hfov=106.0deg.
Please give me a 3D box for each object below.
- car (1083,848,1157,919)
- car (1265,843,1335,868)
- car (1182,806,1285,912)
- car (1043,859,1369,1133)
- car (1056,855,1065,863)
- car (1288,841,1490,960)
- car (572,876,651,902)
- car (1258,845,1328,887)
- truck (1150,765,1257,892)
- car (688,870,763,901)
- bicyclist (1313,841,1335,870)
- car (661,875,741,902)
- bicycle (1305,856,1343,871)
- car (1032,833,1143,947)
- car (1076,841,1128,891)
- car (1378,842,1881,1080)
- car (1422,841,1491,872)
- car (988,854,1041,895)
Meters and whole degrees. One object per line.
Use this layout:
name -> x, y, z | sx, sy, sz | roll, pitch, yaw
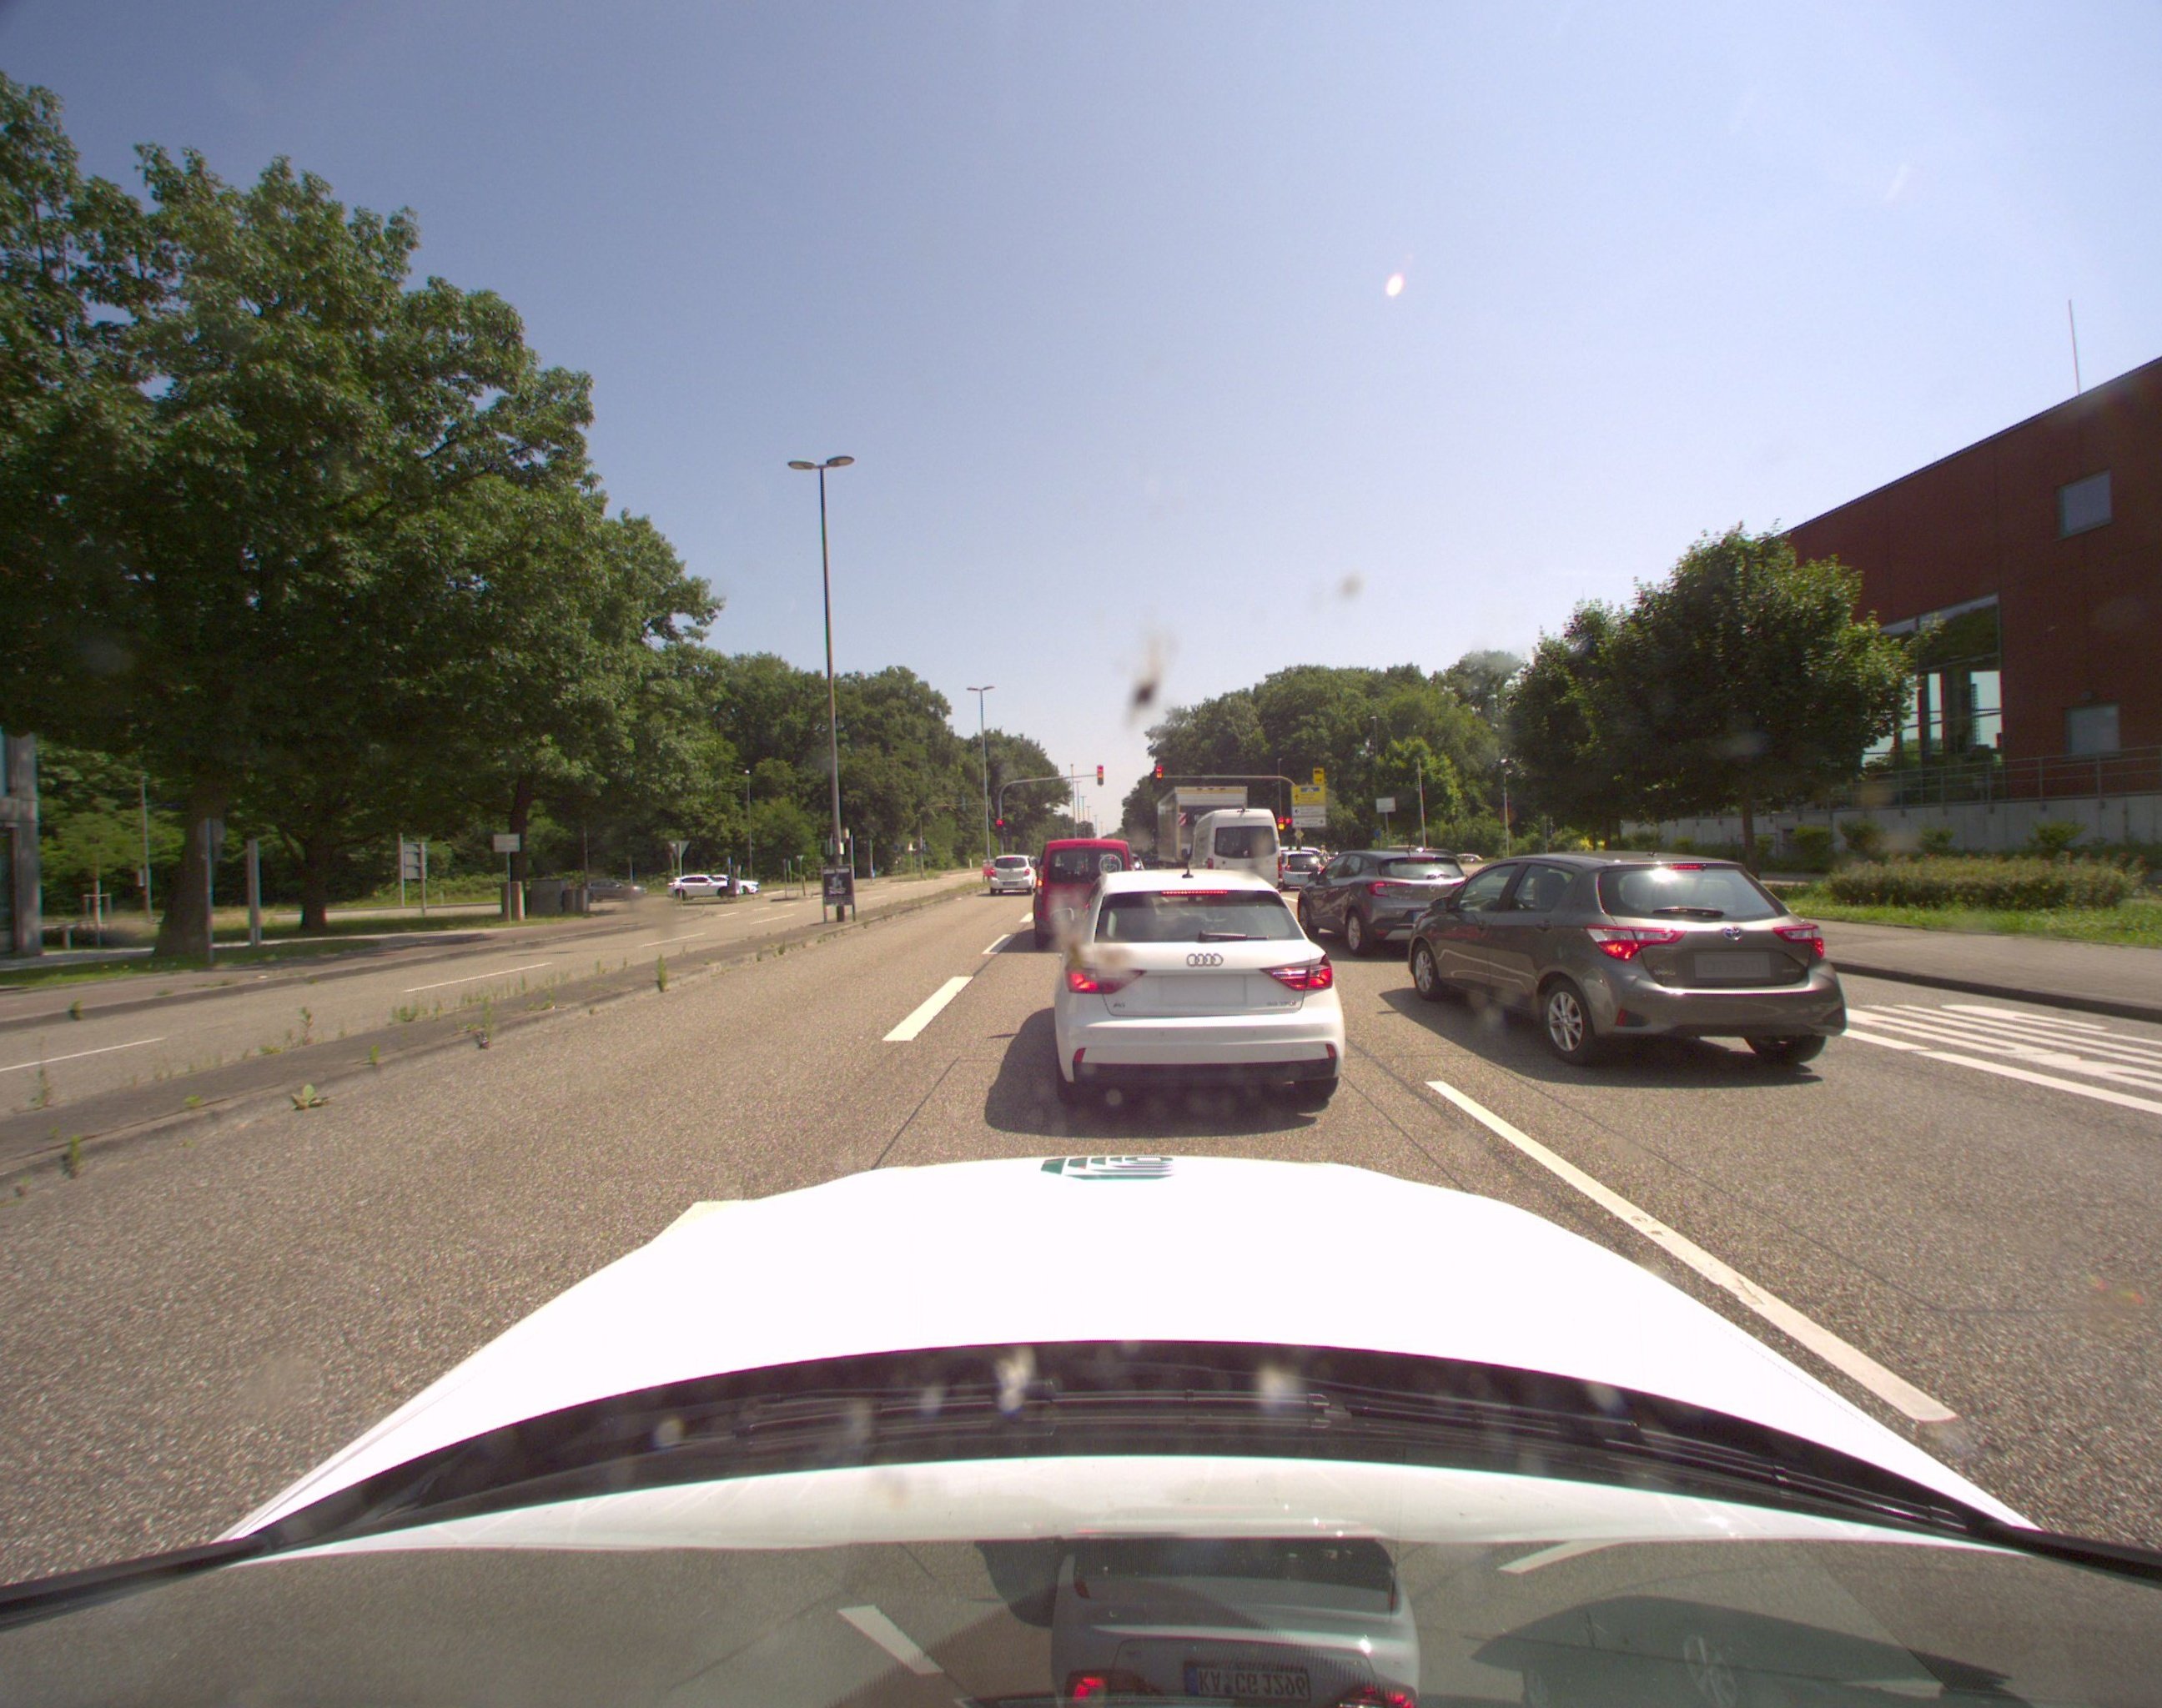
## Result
car -> 0.929, 0.703, 21.221 | 1.706, 1.631, 4.091 | -1, 0, 0
car -> 15.360, 0.100, 57.371 | 4.454, 1.530, 1.799 | -2, 0, 2
car -> 4.182, 0.126, 23.120 | 2.024, 2.644, 4.845 | -1, 0, 1
car -> 0.671, 0.766, 6.366 | 1.706, 1.386, 4.091 | -1, 0, 0
car -> -4.732, 1.145, 187.921 | 1.987, 1.772, 4.205 | -2, 0, 1
car -> 4.734, 0.634, 13.190 | 1.706, 1.593, 4.091 | -1, 0, 0
car -> -32.565, 2.412, 56.616 | 4.370, 1.681, 1.804 | 0, -1, -10
car -> 8.404, 0.451, 32.593 | 1.706, 1.546, 4.091 | -1, 0, 0
truck -> 4.784, -0.906, 34.431 | 3.077, 4.434, 11.584 | -1, 0, 2
car -> -24.941, 2.169, 57.253 | 4.367, 1.681, 1.806 | -6, 0, -7
bicyclist -> 12.714, 0.085, 42.600 | 0.602, 1.439, 0.819 | -2, 0, -43
car -> -24.853, 2.262, 53.428 | 4.366, 1.681, 1.806 | 0, -1, -7
bicycle -> 12.719, 0.497, 42.613 | 0.604, 0.766, 1.805 | -2, 0, -43
car -> 0.106, 0.561, 14.721 | 1.706, 1.748, 4.091 | -1, 0, 0
car -> 0.703, 0.388, 29.052 | 1.706, 1.631, 4.091 | -1, 0, 0
car -> 4.247, 0.683, 7.235 | 1.706, 1.478, 4.091 | 1, 0, 0
car -> 27.030, 0.191, 58.710 | 3.972, 2.013, 2.001 | -2, 0, 2
car -> -2.572, 0.770, 32.320 | 1.706, 1.493, 4.091 | -1, 0, 0
